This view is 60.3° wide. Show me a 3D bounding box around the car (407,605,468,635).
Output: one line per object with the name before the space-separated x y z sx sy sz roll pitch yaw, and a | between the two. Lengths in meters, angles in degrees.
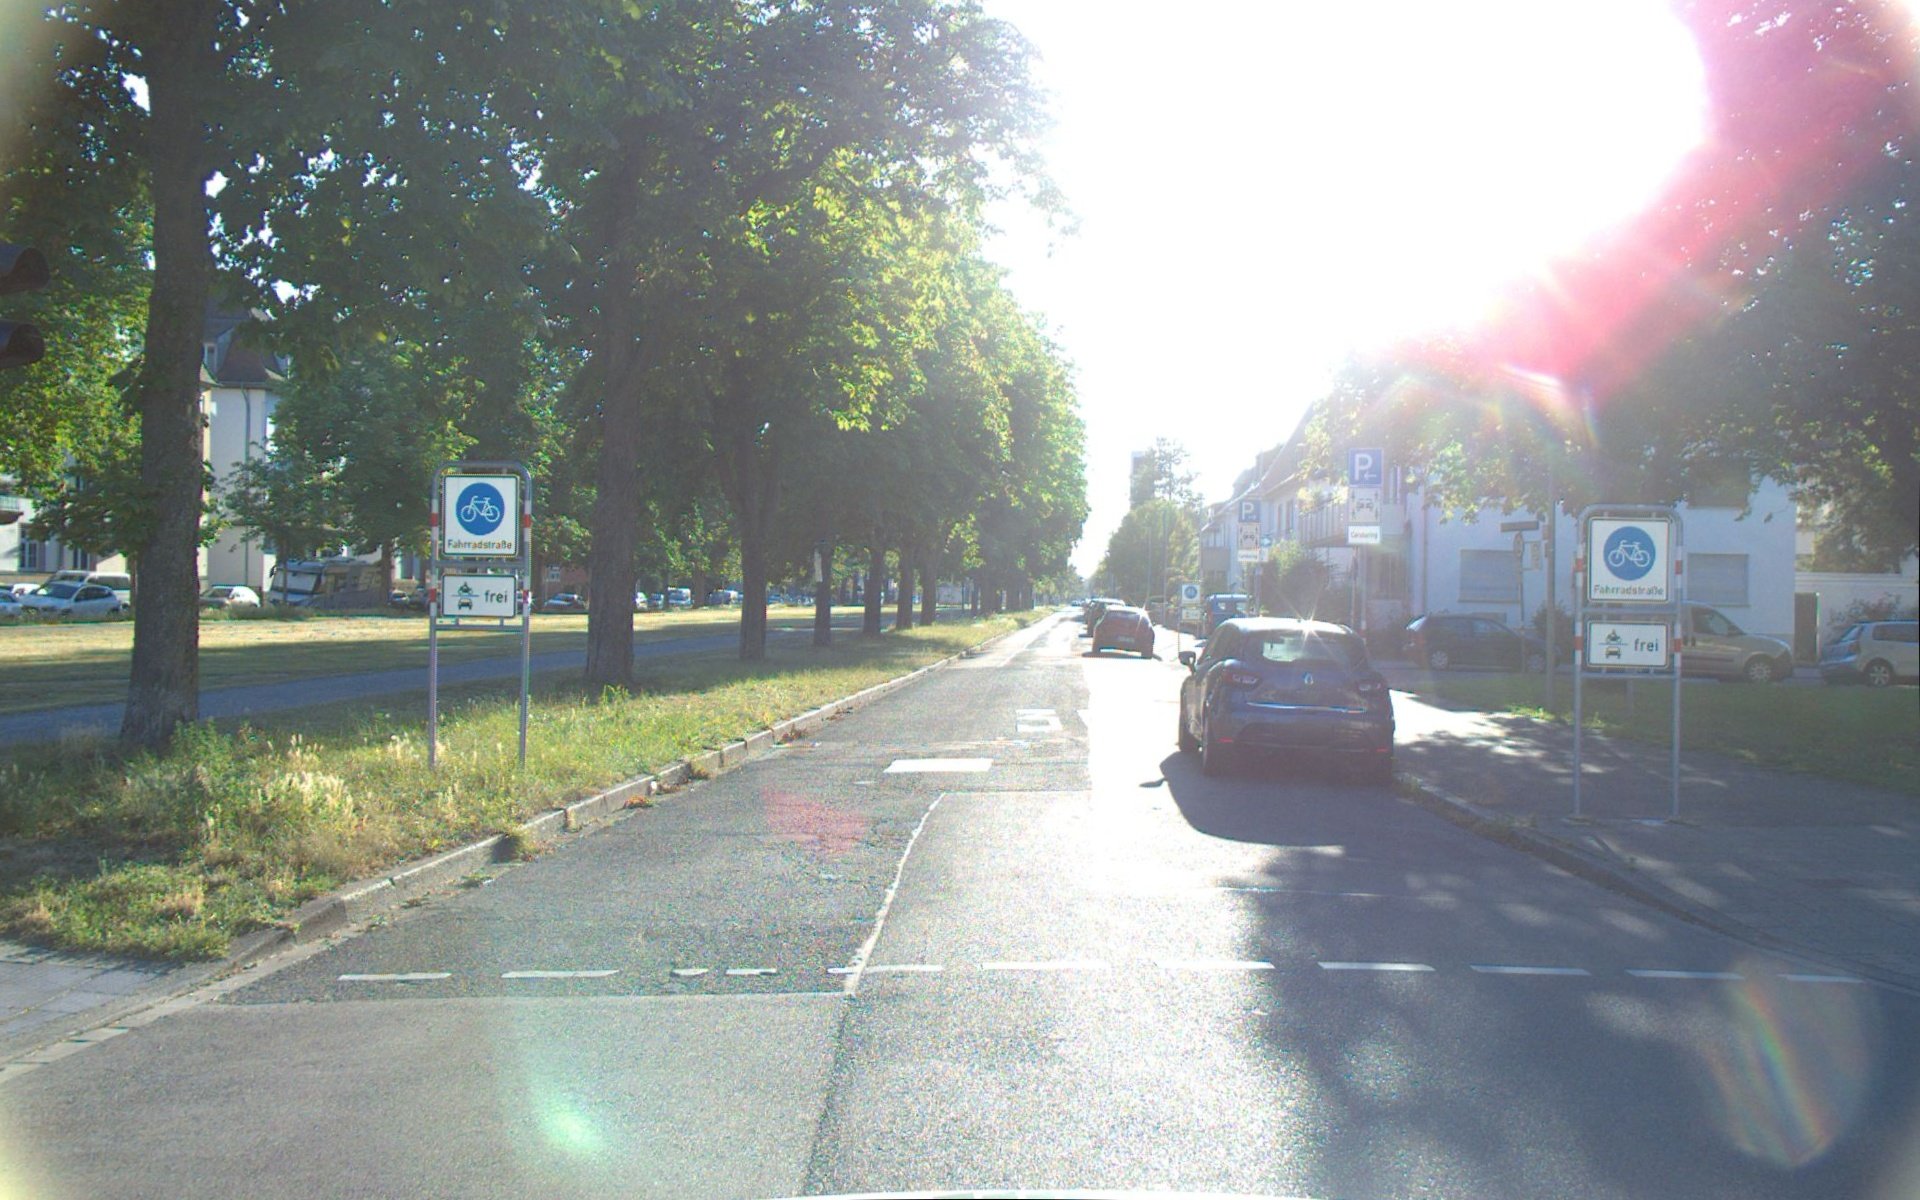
car | -32.455 1.229 102.802 1.951 1.687 4.377 3 0 6

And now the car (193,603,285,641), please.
car | -34.336 1.021 78.909 1.951 1.687 4.573 3 0 6

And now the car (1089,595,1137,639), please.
car | 6.974 0.763 75.821 1.952 1.812 4.002 3 1 3

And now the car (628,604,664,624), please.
car | -28.287 1.233 149.059 1.951 1.687 4.358 3 0 6

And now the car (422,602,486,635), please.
car | -28.192 1.006 92.307 1.840 1.703 4.318 3 0 5

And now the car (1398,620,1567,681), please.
car | 13.578 1.307 43.146 3.903 1.472 1.717 1 0 4

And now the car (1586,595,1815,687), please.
car | 16.235 0.876 36.417 4.152 1.908 2.032 1 0 4

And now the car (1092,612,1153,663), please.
car | 4.868 1.102 50.042 1.674 1.383 4.205 3 0 4

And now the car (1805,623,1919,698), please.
car | 20.461 1.312 35.837 3.481 1.542 1.605 1 0 -2

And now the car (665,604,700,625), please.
car | -23.996 1.272 143.244 1.980 1.687 3.986 3 0 5

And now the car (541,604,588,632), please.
car | -26.898 1.226 112.617 1.773 1.812 4.124 3 0 5

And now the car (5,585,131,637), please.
car | -30.770 0.336 57.213 1.758 1.581 4.421 3 1 2

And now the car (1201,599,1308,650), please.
car | 11.541 0.970 65.014 3.905 1.854 1.759 0 -5 0

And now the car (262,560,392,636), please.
car | -29.240 -0.133 76.787 2.342 3.185 7.857 3 1 4

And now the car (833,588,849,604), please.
car | -16.484 -0.556 229.556 1.619 1.972 3.569 3 -1 3

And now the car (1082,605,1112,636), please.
car | 9.901 1.469 119.512 1.952 2.049 4.002 3 0 3

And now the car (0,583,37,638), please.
car | -31.200 0.298 51.523 1.951 1.687 4.573 3 0 6

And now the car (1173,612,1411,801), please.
car | 3.170 0.938 16.632 1.689 1.537 4.542 3 0 4

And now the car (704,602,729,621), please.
car | -23.948 1.173 162.642 1.692 1.719 3.880 3 -1 2

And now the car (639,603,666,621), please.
car | -29.098 1.136 156.596 1.605 1.671 3.856 3 0 2

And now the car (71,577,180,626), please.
car | -35.783 0.068 71.070 1.952 1.984 4.879 1 0 3
